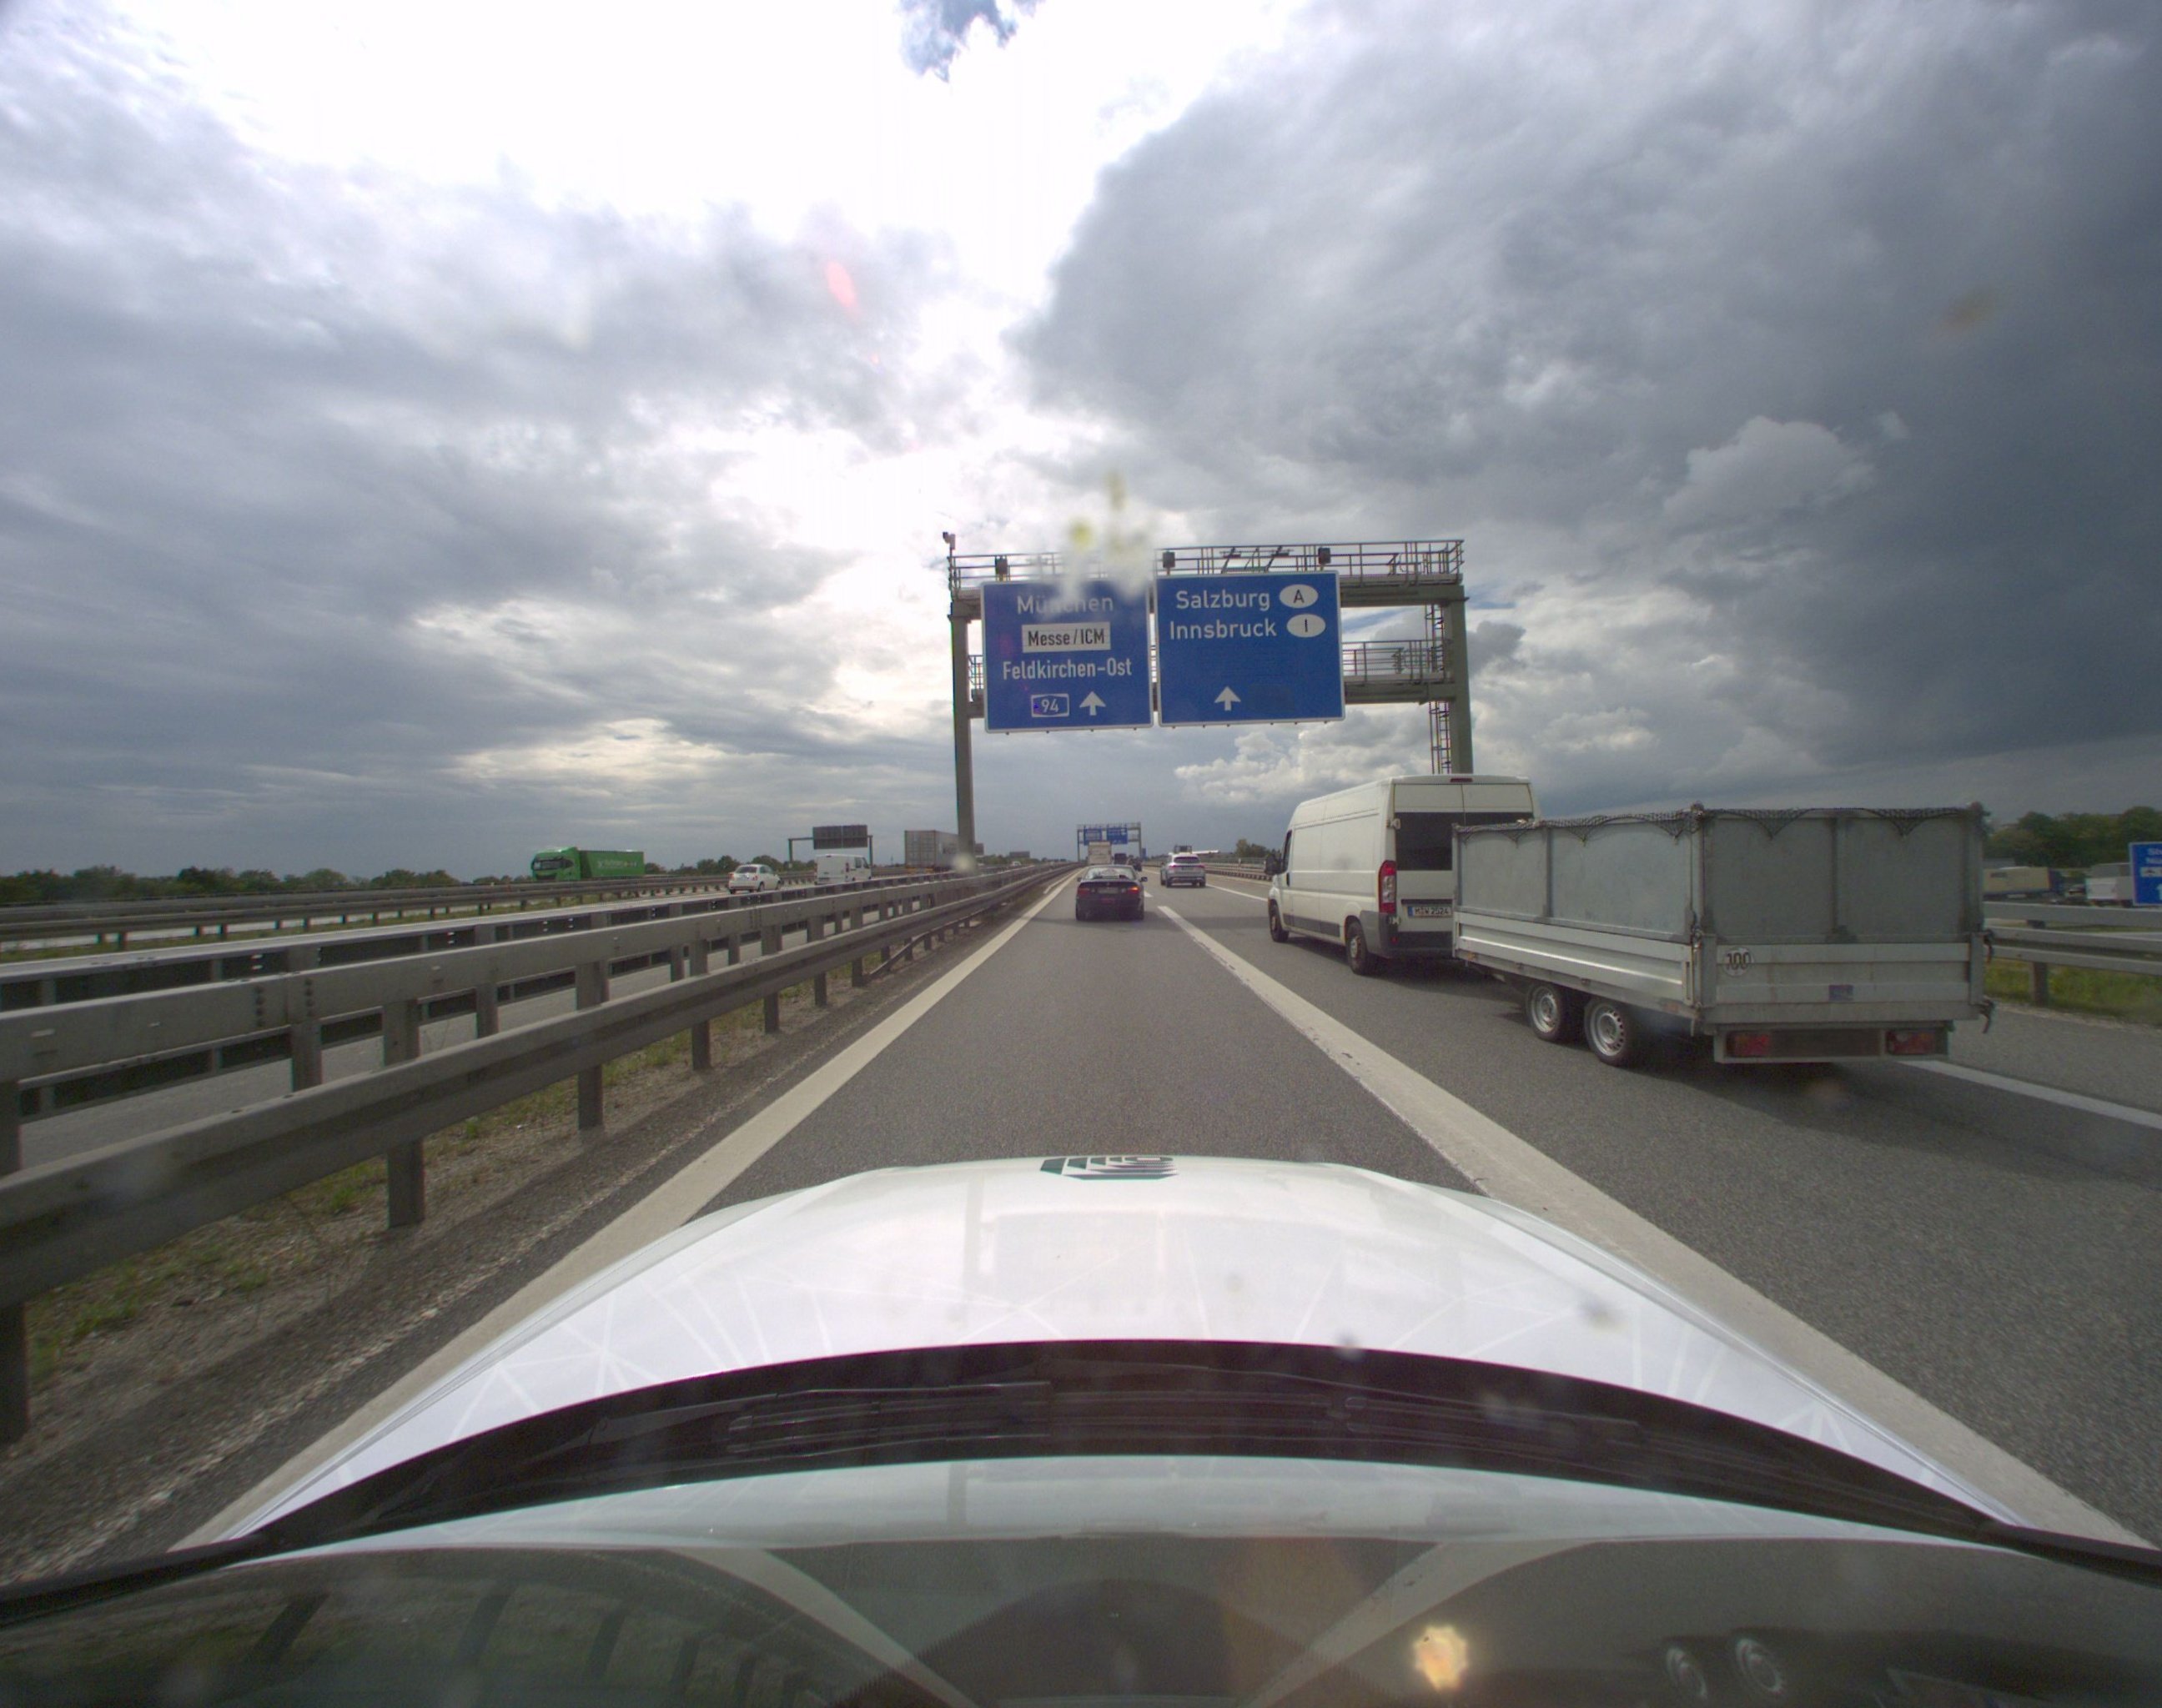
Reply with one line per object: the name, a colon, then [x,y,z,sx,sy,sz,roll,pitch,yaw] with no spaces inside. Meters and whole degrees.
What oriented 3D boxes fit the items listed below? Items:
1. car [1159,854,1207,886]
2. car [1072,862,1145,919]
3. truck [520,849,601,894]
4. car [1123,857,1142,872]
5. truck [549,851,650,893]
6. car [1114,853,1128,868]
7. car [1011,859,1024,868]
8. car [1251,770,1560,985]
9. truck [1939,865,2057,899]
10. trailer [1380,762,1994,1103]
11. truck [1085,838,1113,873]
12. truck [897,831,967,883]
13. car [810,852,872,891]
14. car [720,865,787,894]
car: [5.005,0.749,40.336,1.814,1.514,3.999,0,0,-1]
car: [0.730,0.877,21.025,1.697,1.281,4.368,0,0,2]
truck: [-43.963,1.434,69.053,3.031,3.609,5.894,-1,0,0]
car: [5.643,1.106,88.982,1.878,1.552,4.000,0,0,1]
truck: [-43.906,1.557,74.854,3.003,3.635,10.437,0,0,1]
car: [5.930,0.927,121.708,1.900,2.262,4.649,0,0,0]
car: [-11.428,1.737,145.805,1.821,1.563,4.002,-1,0,2]
car: [4.380,0.274,12.426,2.108,2.454,6.147,0,0,-2]
truck: [111.452,3.437,98.993,13.698,3.936,3.298,1,-1,-12]
trailer: [4.490,0.466,7.181,1.850,2.014,4.627,0,0,-2]
truck: [1.760,0.258,79.018,2.560,3.126,8.634,0,-2,1]
truck: [-12.757,0.252,71.574,3.173,4.019,16.071,0,0,0]
car: [-12.910,0.909,44.167,1.986,2.014,4.375,0,0,1]
car: [-17.049,1.291,42.598,1.790,1.420,4.002,0,0,2]
